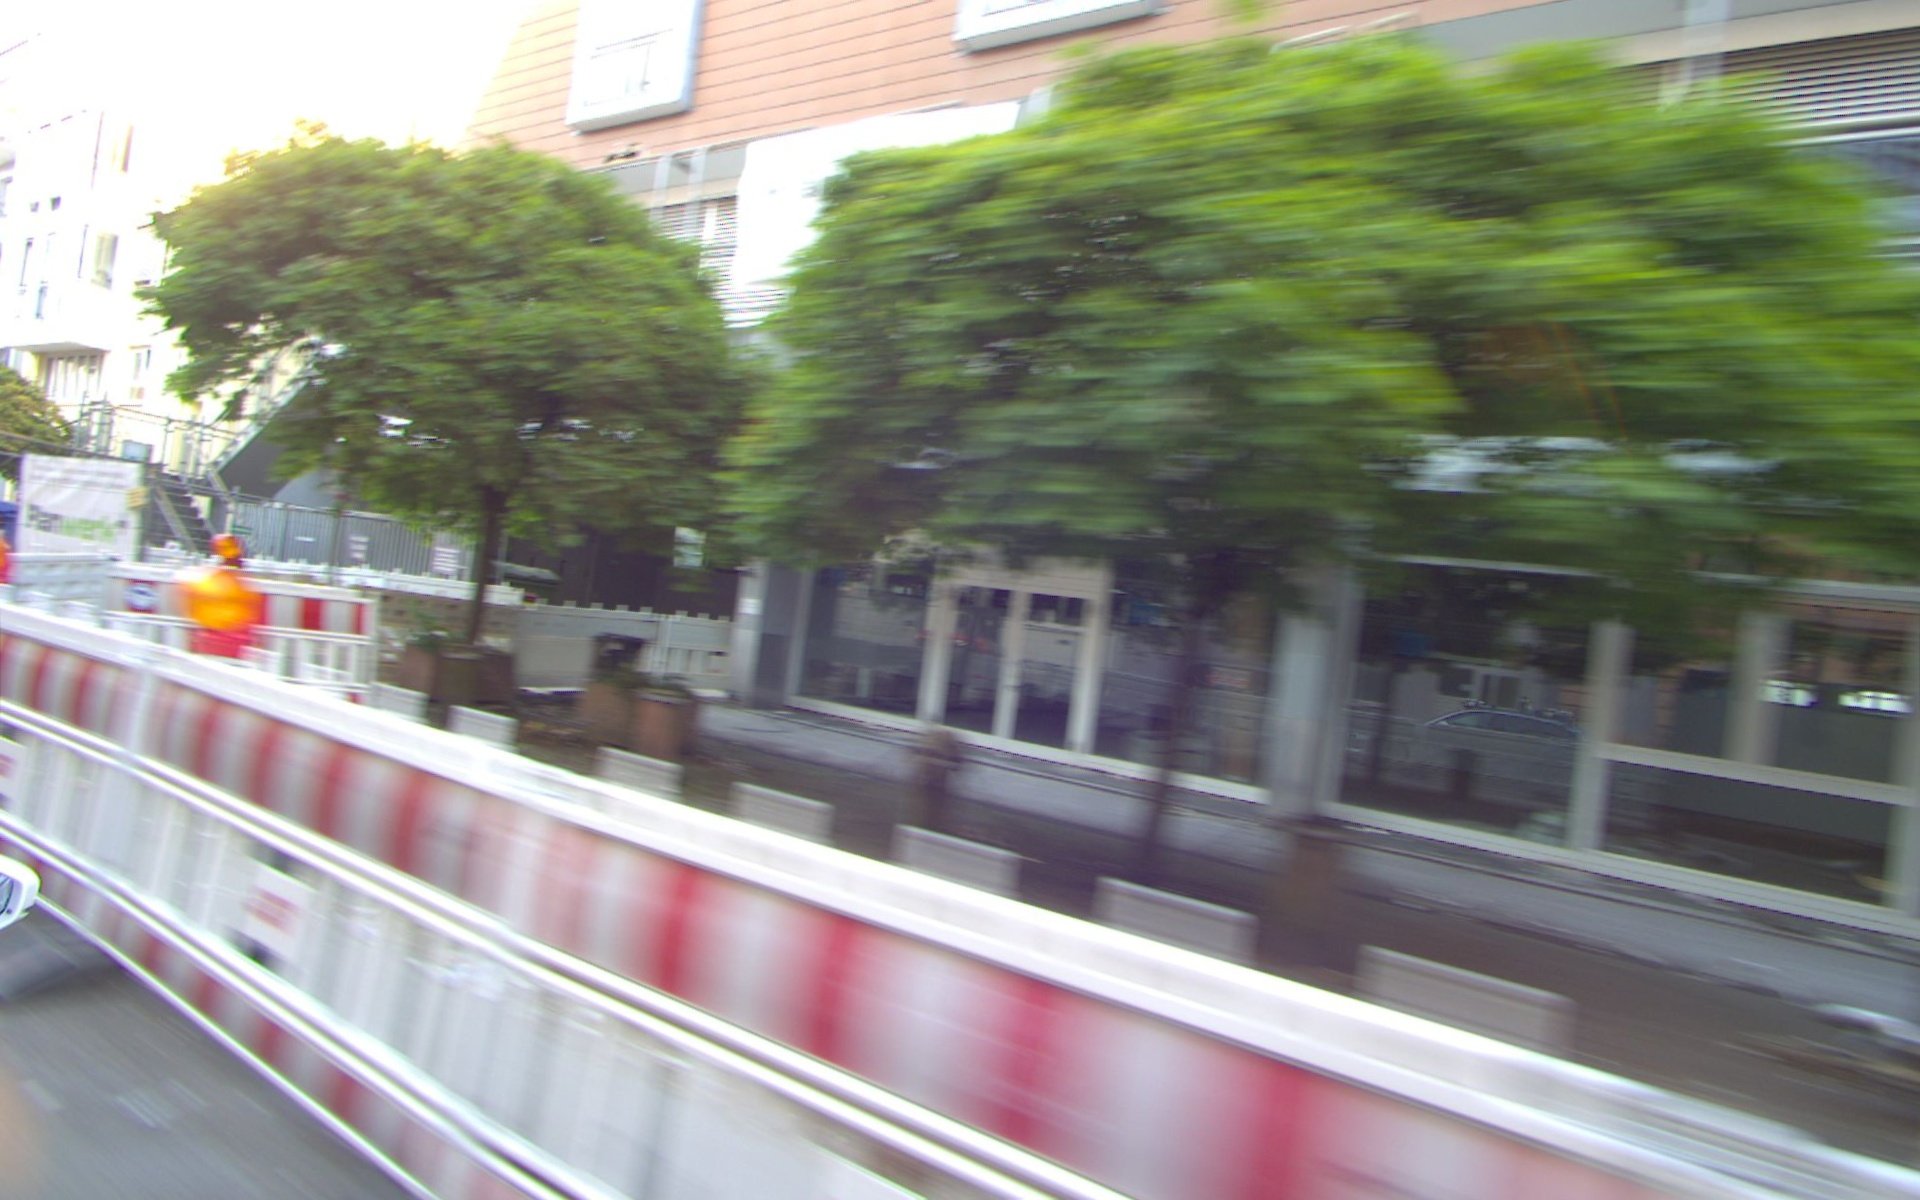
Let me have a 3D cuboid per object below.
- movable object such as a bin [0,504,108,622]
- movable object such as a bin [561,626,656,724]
[{"bbox_3d":[-12.155,-0.488,13.106,0.787,1.391,1.257,8,-3,6],"label":"movable object such as a bin"},{"bbox_3d":[-3.958,0.853,11.355,0.700,0.986,0.558,7,-3,27],"label":"movable object such as a bin"}]
